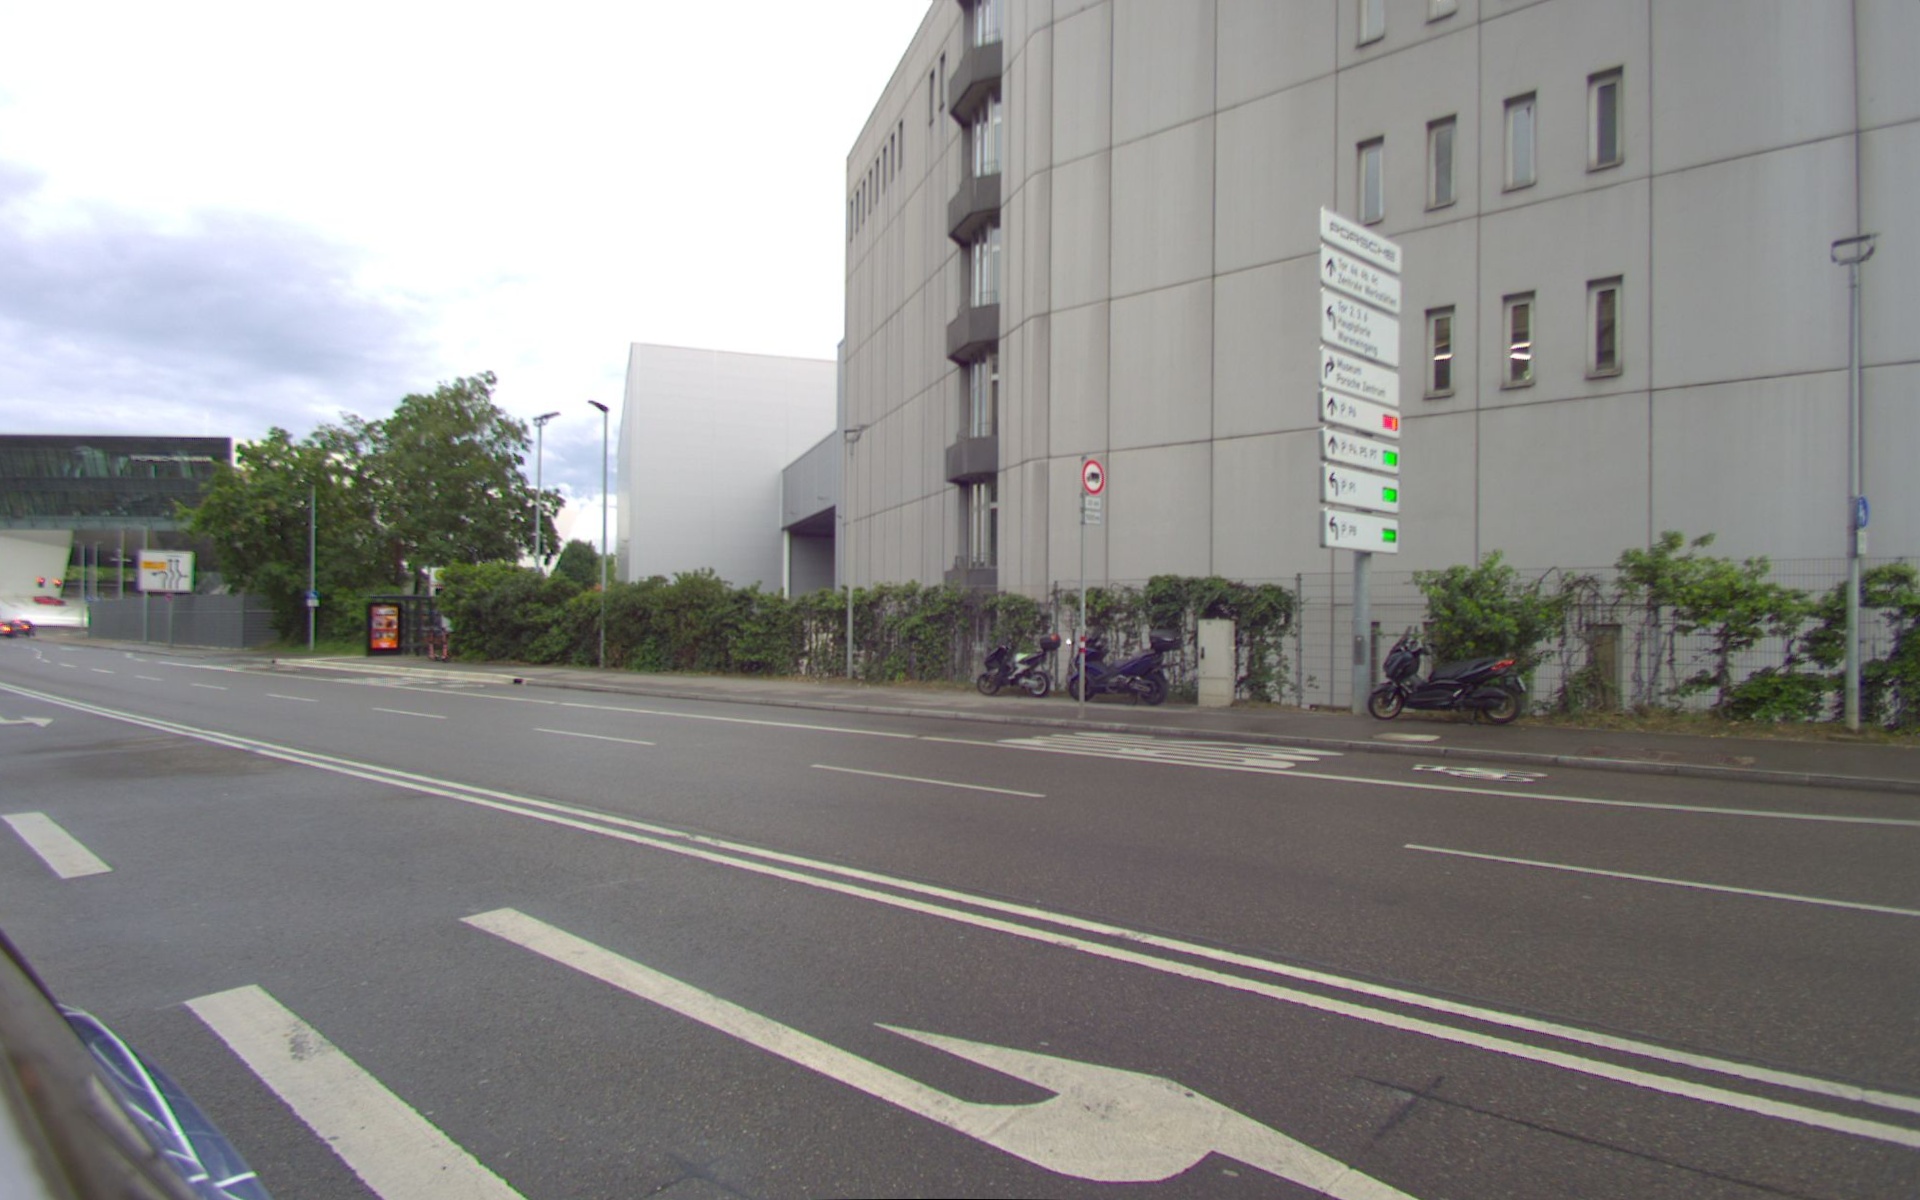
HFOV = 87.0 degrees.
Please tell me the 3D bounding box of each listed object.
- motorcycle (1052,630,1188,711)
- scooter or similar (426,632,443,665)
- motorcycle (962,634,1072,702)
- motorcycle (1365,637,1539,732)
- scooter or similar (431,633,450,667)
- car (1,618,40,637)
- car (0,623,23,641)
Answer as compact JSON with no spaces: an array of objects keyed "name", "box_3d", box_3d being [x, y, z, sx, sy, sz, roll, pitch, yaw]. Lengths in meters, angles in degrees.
[{"name":"motorcycle","box_3d":[2.846,1.227,18.222,2.368,1.358,0.776,-1,-2,40]},{"name":"scooter or similar","box_3d":[-19.436,1.798,37.437,0.383,1.189,1.253,1,-1,-36]},{"name":"motorcycle","box_3d":[1.101,1.311,19.997,2.156,1.260,0.776,-1,-2,40]},{"name":"motorcycle","box_3d":[7.140,1.185,14.759,2.156,1.257,0.776,-1,-2,40]},{"name":"scooter or similar","box_3d":[-18.615,1.791,36.271,0.373,1.190,1.380,1,-1,-36]},{"name":"car","box_3d":[-87.807,2.557,94.611,1.834,1.663,3.799,1,-2,-30]},{"name":"car","box_3d":[-84.005,2.788,88.531,2.233,1.488,4.059,1,-1,-32]}]
